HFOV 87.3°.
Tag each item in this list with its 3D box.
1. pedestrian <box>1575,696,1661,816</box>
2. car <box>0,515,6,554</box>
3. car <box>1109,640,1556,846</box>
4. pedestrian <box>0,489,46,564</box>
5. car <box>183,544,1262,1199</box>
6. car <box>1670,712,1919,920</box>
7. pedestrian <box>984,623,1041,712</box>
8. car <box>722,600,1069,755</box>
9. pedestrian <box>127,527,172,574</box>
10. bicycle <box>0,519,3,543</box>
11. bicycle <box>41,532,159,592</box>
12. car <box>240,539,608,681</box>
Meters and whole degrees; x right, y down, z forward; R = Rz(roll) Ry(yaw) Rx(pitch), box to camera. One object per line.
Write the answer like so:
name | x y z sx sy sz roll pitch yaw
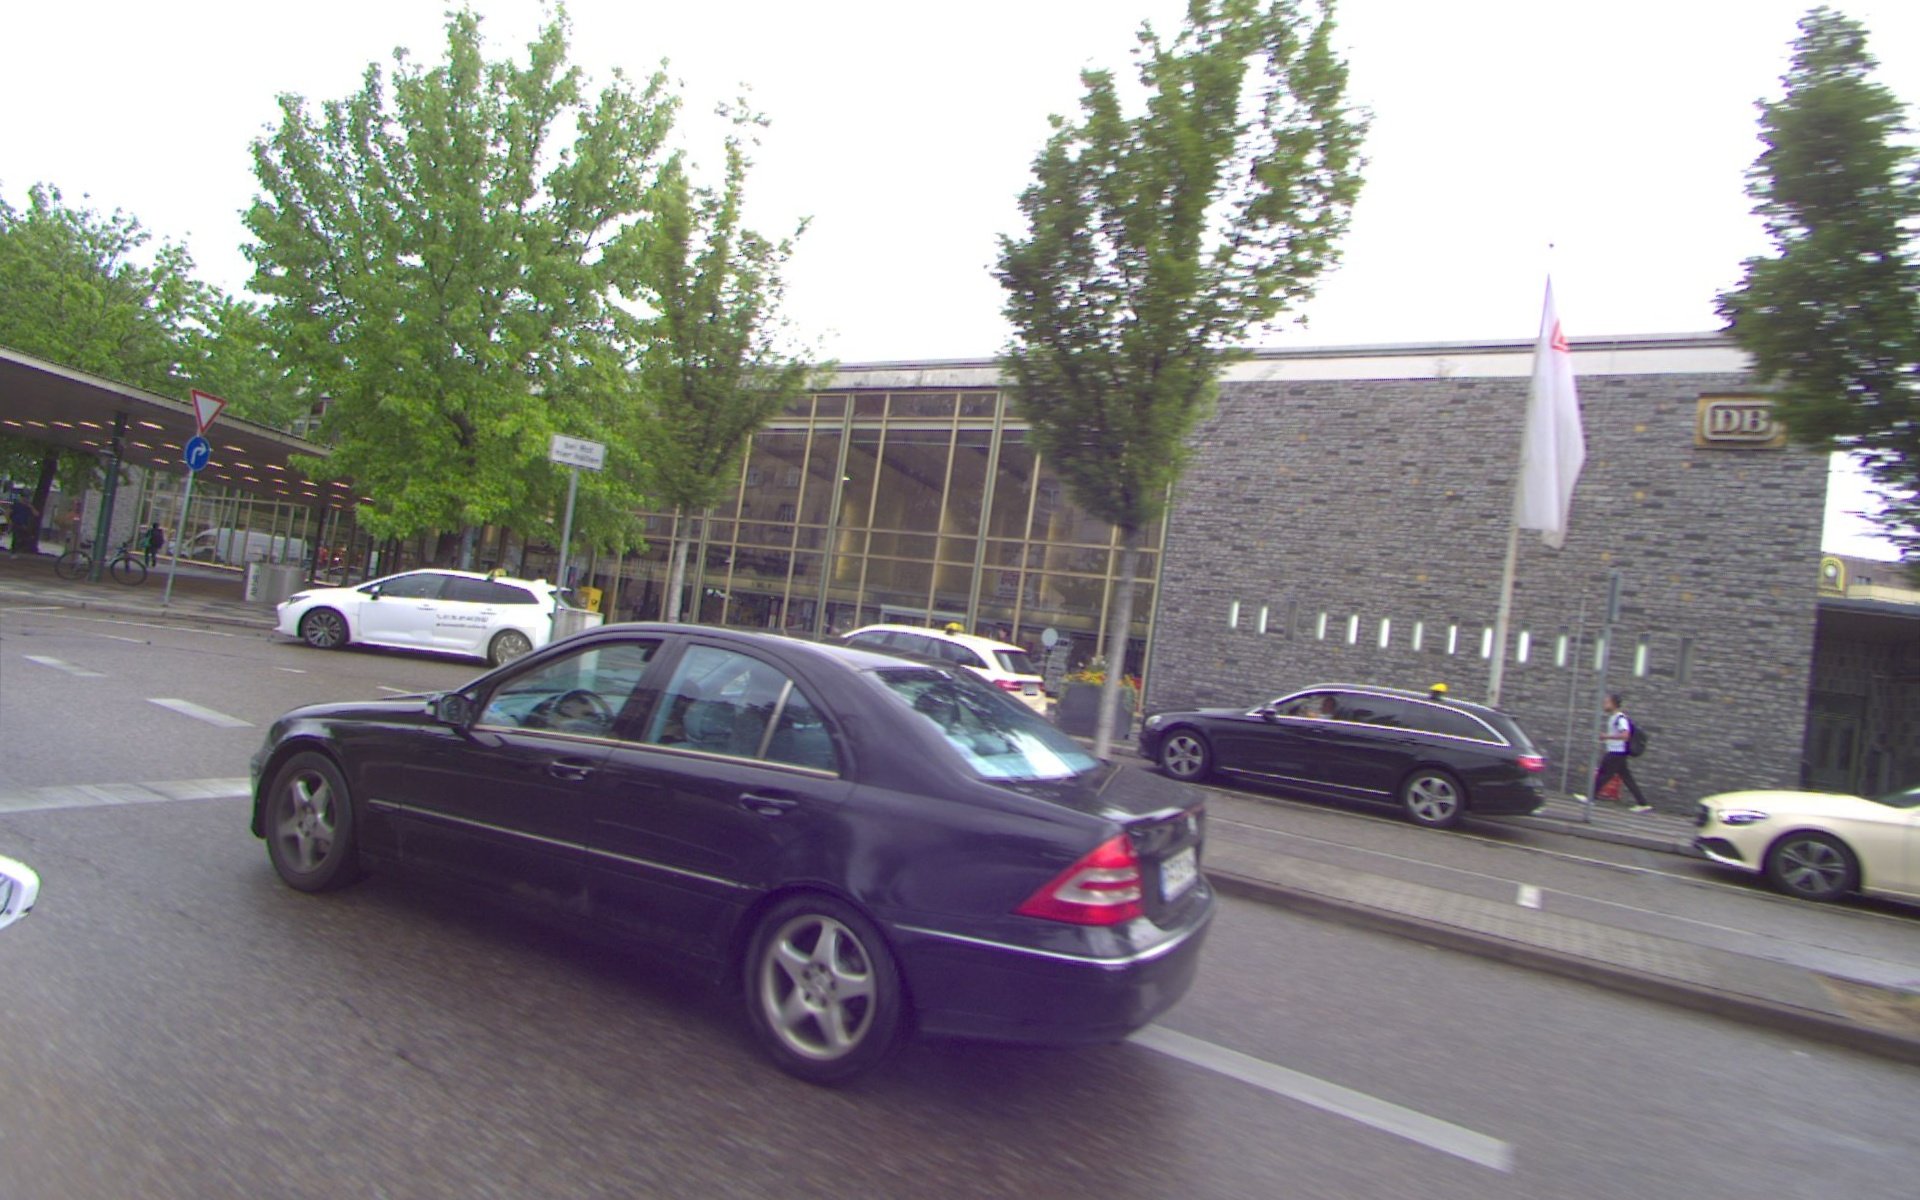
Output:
pedestrian | 10.207 2.398 15.628 0.762 1.687 0.646 7 0 10
car | -33.889 -2.460 32.396 1.805 1.340 4.205 6 -3 12
car | 4.617 1.673 12.770 4.874 1.617 1.999 6 -2 30
pedestrian | -25.534 -1.990 27.138 1.170 1.857 0.858 5 -1 31
car | -1.129 0.750 4.391 4.372 1.483 1.699 6 -1 25
car | 9.970 2.264 9.650 4.876 1.619 1.996 6 -1 32
pedestrian | 1.036 1.337 20.019 0.784 1.646 0.721 6 0 -13
car | -1.011 1.118 15.575 4.868 1.619 1.999 7 -1 24
pedestrian | -29.316 -1.786 36.396 0.799 1.578 0.867 6 0 24
bicycle | -25.636 -1.659 25.603 0.412 1.068 1.835 6 -1 13
bicycle | -18.440 -0.801 21.618 0.413 1.068 1.830 6 -1 31
car | -8.293 0.192 15.991 4.695 1.563 1.762 7 -2 -8
